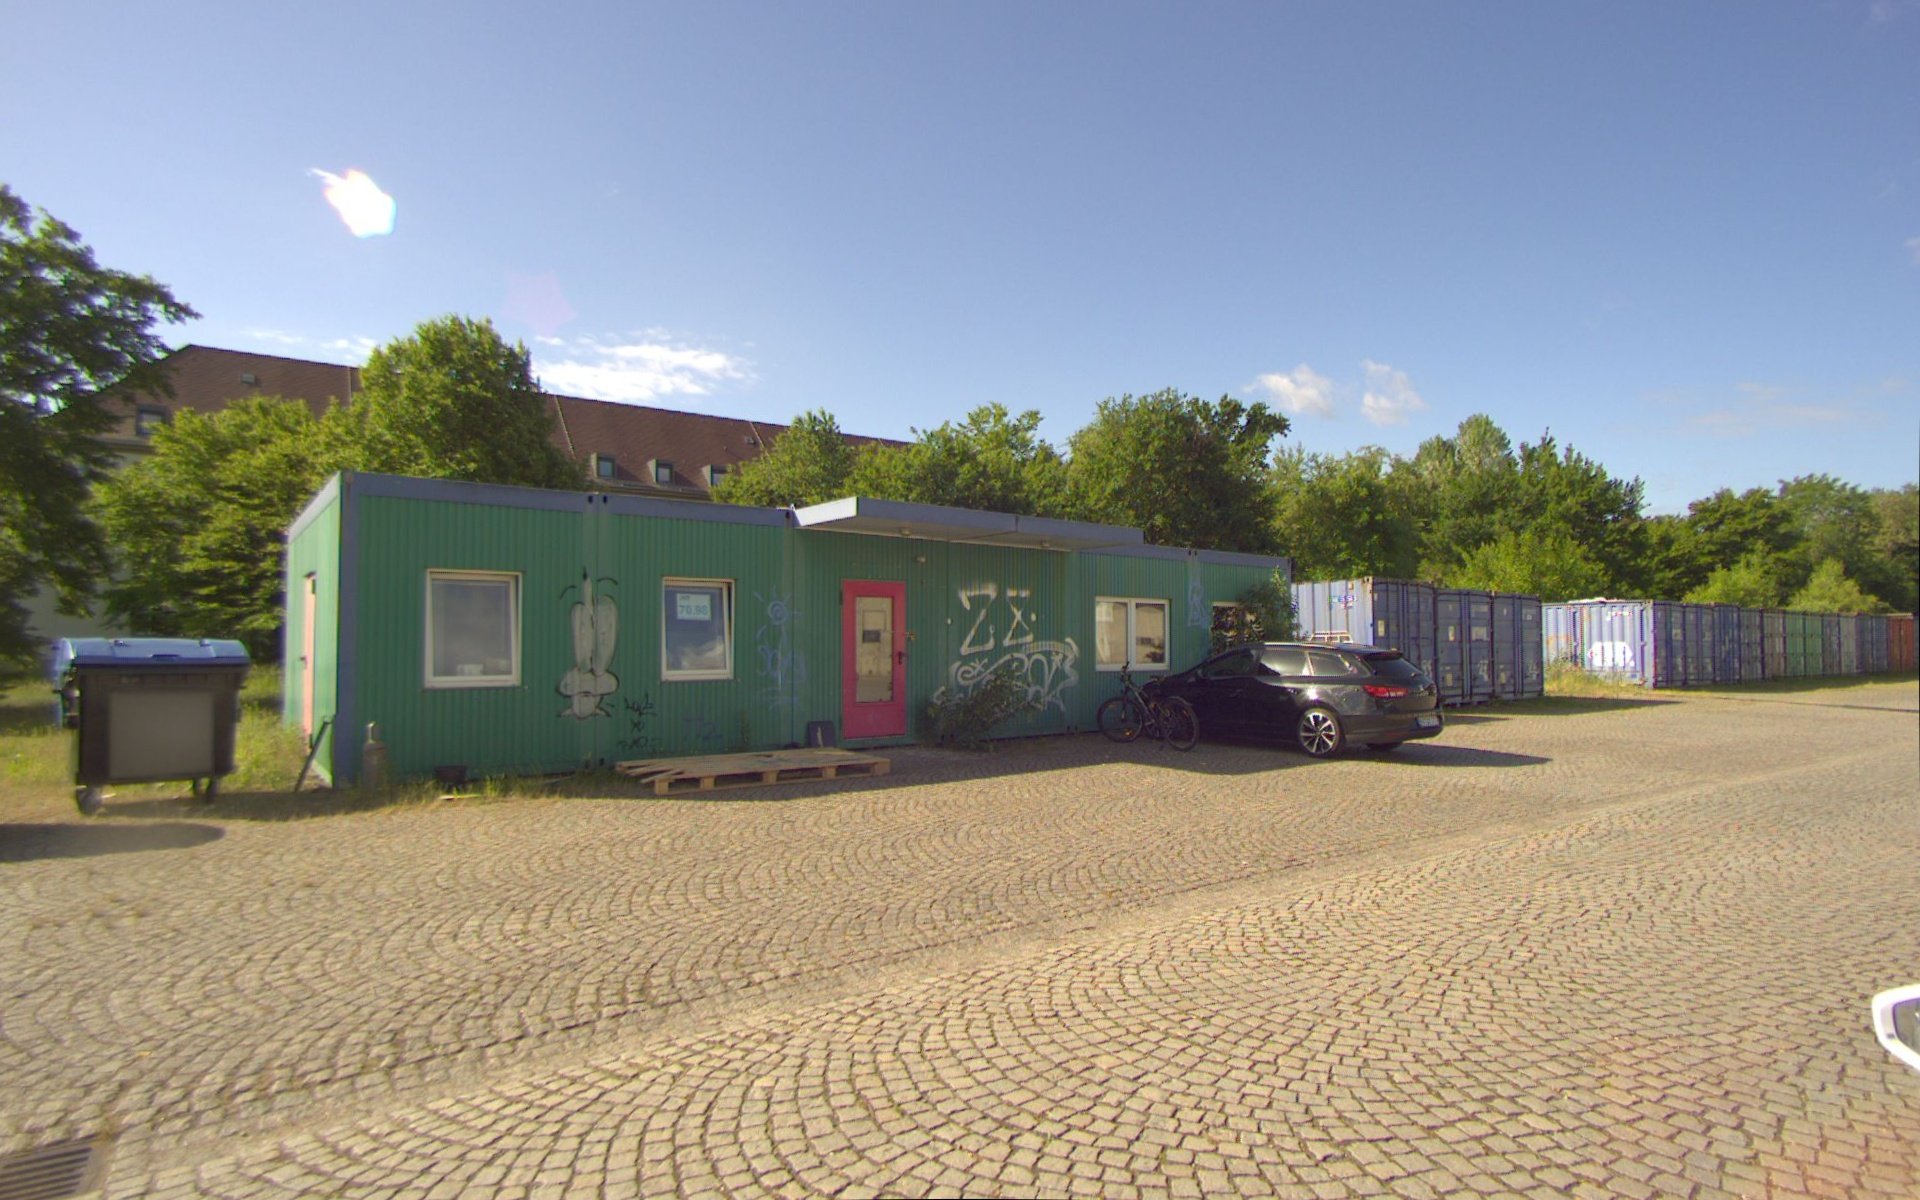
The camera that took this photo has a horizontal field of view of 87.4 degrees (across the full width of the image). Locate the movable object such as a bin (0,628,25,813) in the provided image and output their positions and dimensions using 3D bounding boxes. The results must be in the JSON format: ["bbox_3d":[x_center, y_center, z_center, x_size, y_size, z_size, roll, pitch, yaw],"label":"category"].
[{"bbox_3d":[-8.098,0.923,7.409,1.520,1.441,1.288,1,-3,-34],"label":"movable object such as a bin"}]

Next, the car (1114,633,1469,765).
[{"bbox_3d":[4.431,1.228,14.018,1.982,1.484,4.381,2,-2,-38],"label":"car"}]

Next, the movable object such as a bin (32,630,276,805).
[{"bbox_3d":[-7.279,0.985,9.093,1.367,1.404,1.527,-2,-3,43],"label":"movable object such as a bin"}]

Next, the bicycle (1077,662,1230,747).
[{"bbox_3d":[2.623,1.391,13.773,1.029,1.041,1.861,2,-3,-37],"label":"bicycle"}]
